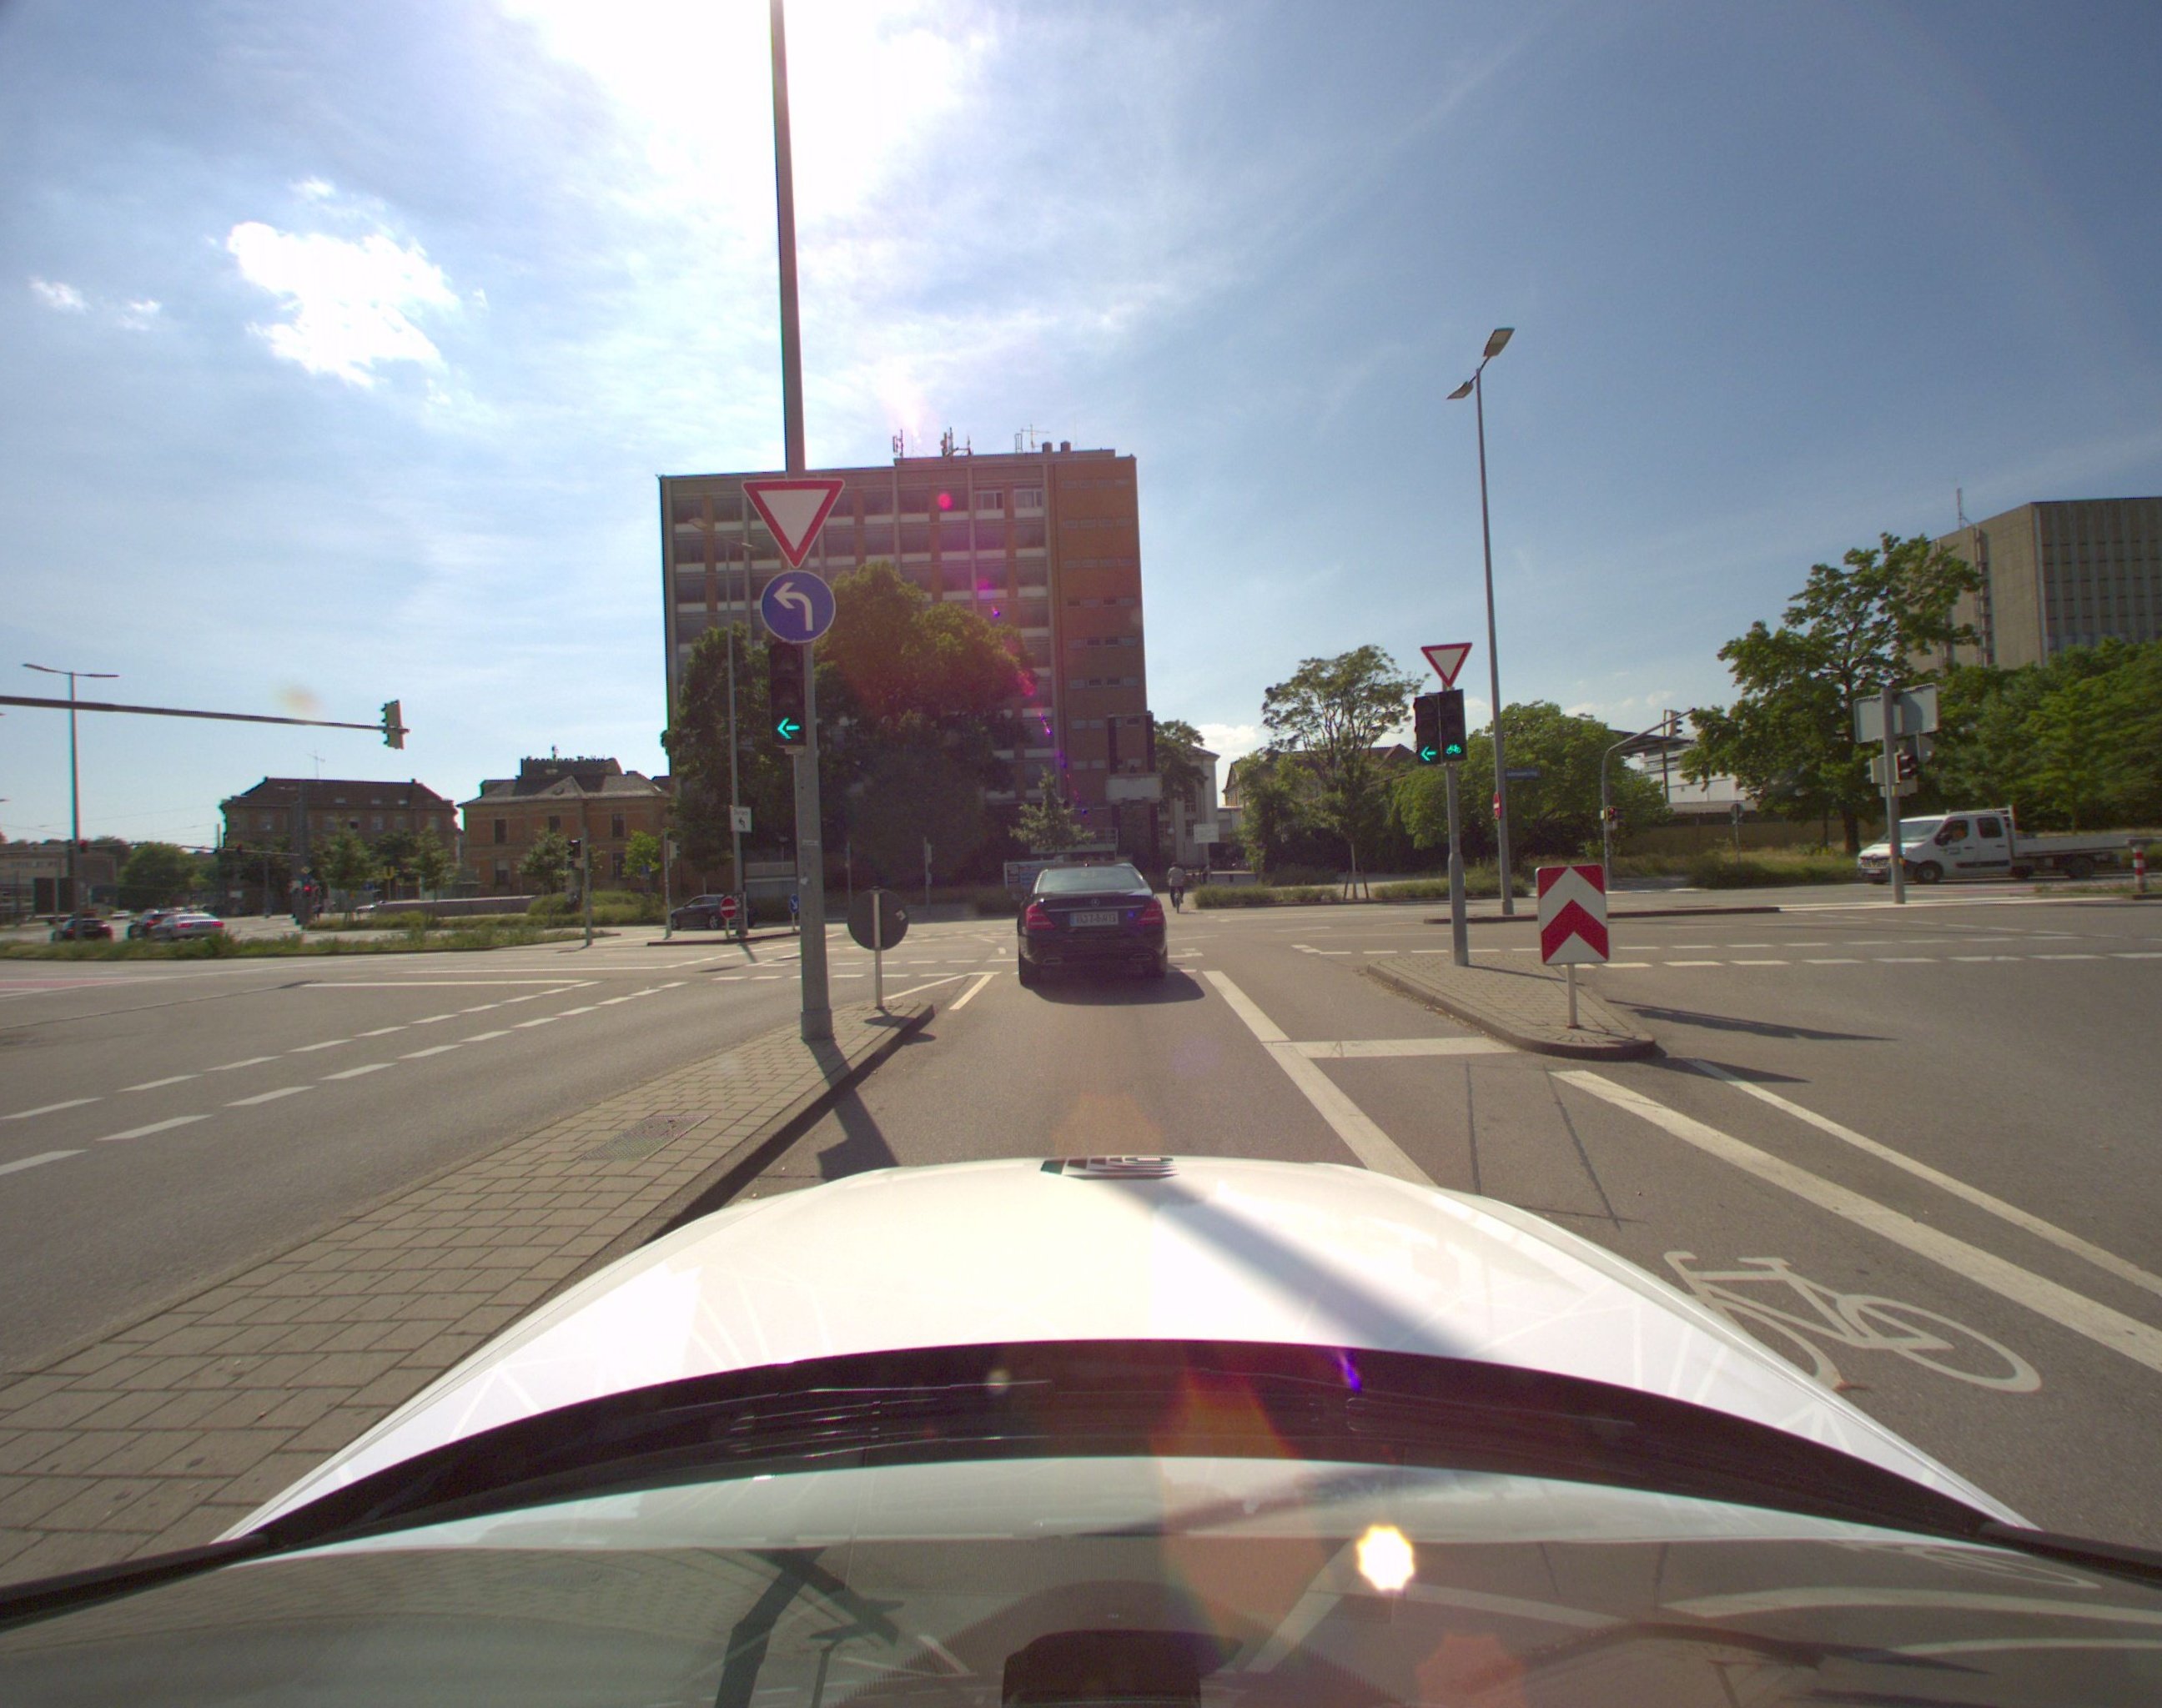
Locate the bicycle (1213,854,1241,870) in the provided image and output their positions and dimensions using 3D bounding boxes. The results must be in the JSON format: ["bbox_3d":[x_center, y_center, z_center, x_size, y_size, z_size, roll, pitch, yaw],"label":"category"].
[{"bbox_3d":[15.656,0.818,87.599,2.813,1.559,0.842,-3,-1,1],"label":"bicycle"}]

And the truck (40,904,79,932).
[{"bbox_3d":[-145.132,9.067,115.813,7.827,3.730,3.093,-4,-2,41],"label":"truck"}]

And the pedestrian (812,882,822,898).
[{"bbox_3d":[-16.092,2.194,49.608,0.425,0.892,0.394,-3,-1,11],"label":"pedestrian"}]

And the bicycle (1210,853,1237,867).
[{"bbox_3d":[16.063,0.692,91.785,2.813,1.480,0.842,-3,-1,1],"label":"bicycle"}]

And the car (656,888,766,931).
[{"bbox_3d":[-14.852,2.223,32.677,3.951,1.510,1.810,-3,-2,23],"label":"car"}]

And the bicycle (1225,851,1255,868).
[{"bbox_3d":[16.144,0.575,82.612,2.813,1.587,0.842,-3,-1,1],"label":"bicycle"}]

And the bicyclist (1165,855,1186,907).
[{"bbox_3d":[3.456,0.973,29.890,0.682,1.878,0.861,-1,-1,5],"label":"bicyclist"}]

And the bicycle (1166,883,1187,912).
[{"bbox_3d":[3.429,1.565,29.447,0.689,0.946,1.961,-1,-1,5],"label":"bicycle"}]

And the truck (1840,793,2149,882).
[{"bbox_3d":[29.368,-0.464,26.415,6.997,2.356,2.414,-3,-2,2],"label":"truck"}]

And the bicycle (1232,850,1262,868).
[{"bbox_3d":[16.379,0.477,80.405,2.813,1.649,0.842,-3,-1,1],"label":"bicycle"}]

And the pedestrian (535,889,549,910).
[{"bbox_3d":[-44.430,3.742,67.145,0.644,1.661,0.652,-3,-2,9],"label":"pedestrian"}]

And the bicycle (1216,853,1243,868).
[{"bbox_3d":[16.361,0.683,89.848,2.813,1.500,0.842,-3,-1,1],"label":"bicycle"}]

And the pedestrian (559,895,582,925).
[{"bbox_3d":[-30.932,3.389,49.364,0.790,1.725,0.878,-3,-2,24],"label":"pedestrian"}]

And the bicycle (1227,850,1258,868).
[{"bbox_3d":[16.180,0.491,81.544,2.813,1.659,0.842,-3,1,1],"label":"bicycle"}]

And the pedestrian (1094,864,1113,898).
[{"bbox_3d":[1.102,1.313,39.398,0.808,1.579,0.693,-3,-1,3],"label":"pedestrian"}]

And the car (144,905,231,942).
[{"bbox_3d":[-48.399,3.759,44.118,3.951,1.816,2.011,-3,-1,24],"label":"car"}]

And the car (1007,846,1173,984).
[{"bbox_3d":[0.133,0.811,11.532,1.852,1.530,4.712,-1,-3,1],"label":"car"}]

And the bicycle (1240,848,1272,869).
[{"bbox_3d":[16.516,0.430,76.817,2.813,1.836,0.842,-3,-1,1],"label":"bicycle"}]

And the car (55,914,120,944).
[{"bbox_3d":[-56.096,4.227,45.958,3.948,1.510,1.811,-3,-1,32],"label":"car"}]

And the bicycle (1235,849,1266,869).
[{"bbox_3d":[16.455,0.481,79.079,2.813,1.744,0.842,-3,-1,1],"label":"bicycle"}]

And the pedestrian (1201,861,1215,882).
[{"bbox_3d":[7.677,1.053,49.299,0.788,1.214,0.759,-1,-1,8],"label":"pedestrian"}]
